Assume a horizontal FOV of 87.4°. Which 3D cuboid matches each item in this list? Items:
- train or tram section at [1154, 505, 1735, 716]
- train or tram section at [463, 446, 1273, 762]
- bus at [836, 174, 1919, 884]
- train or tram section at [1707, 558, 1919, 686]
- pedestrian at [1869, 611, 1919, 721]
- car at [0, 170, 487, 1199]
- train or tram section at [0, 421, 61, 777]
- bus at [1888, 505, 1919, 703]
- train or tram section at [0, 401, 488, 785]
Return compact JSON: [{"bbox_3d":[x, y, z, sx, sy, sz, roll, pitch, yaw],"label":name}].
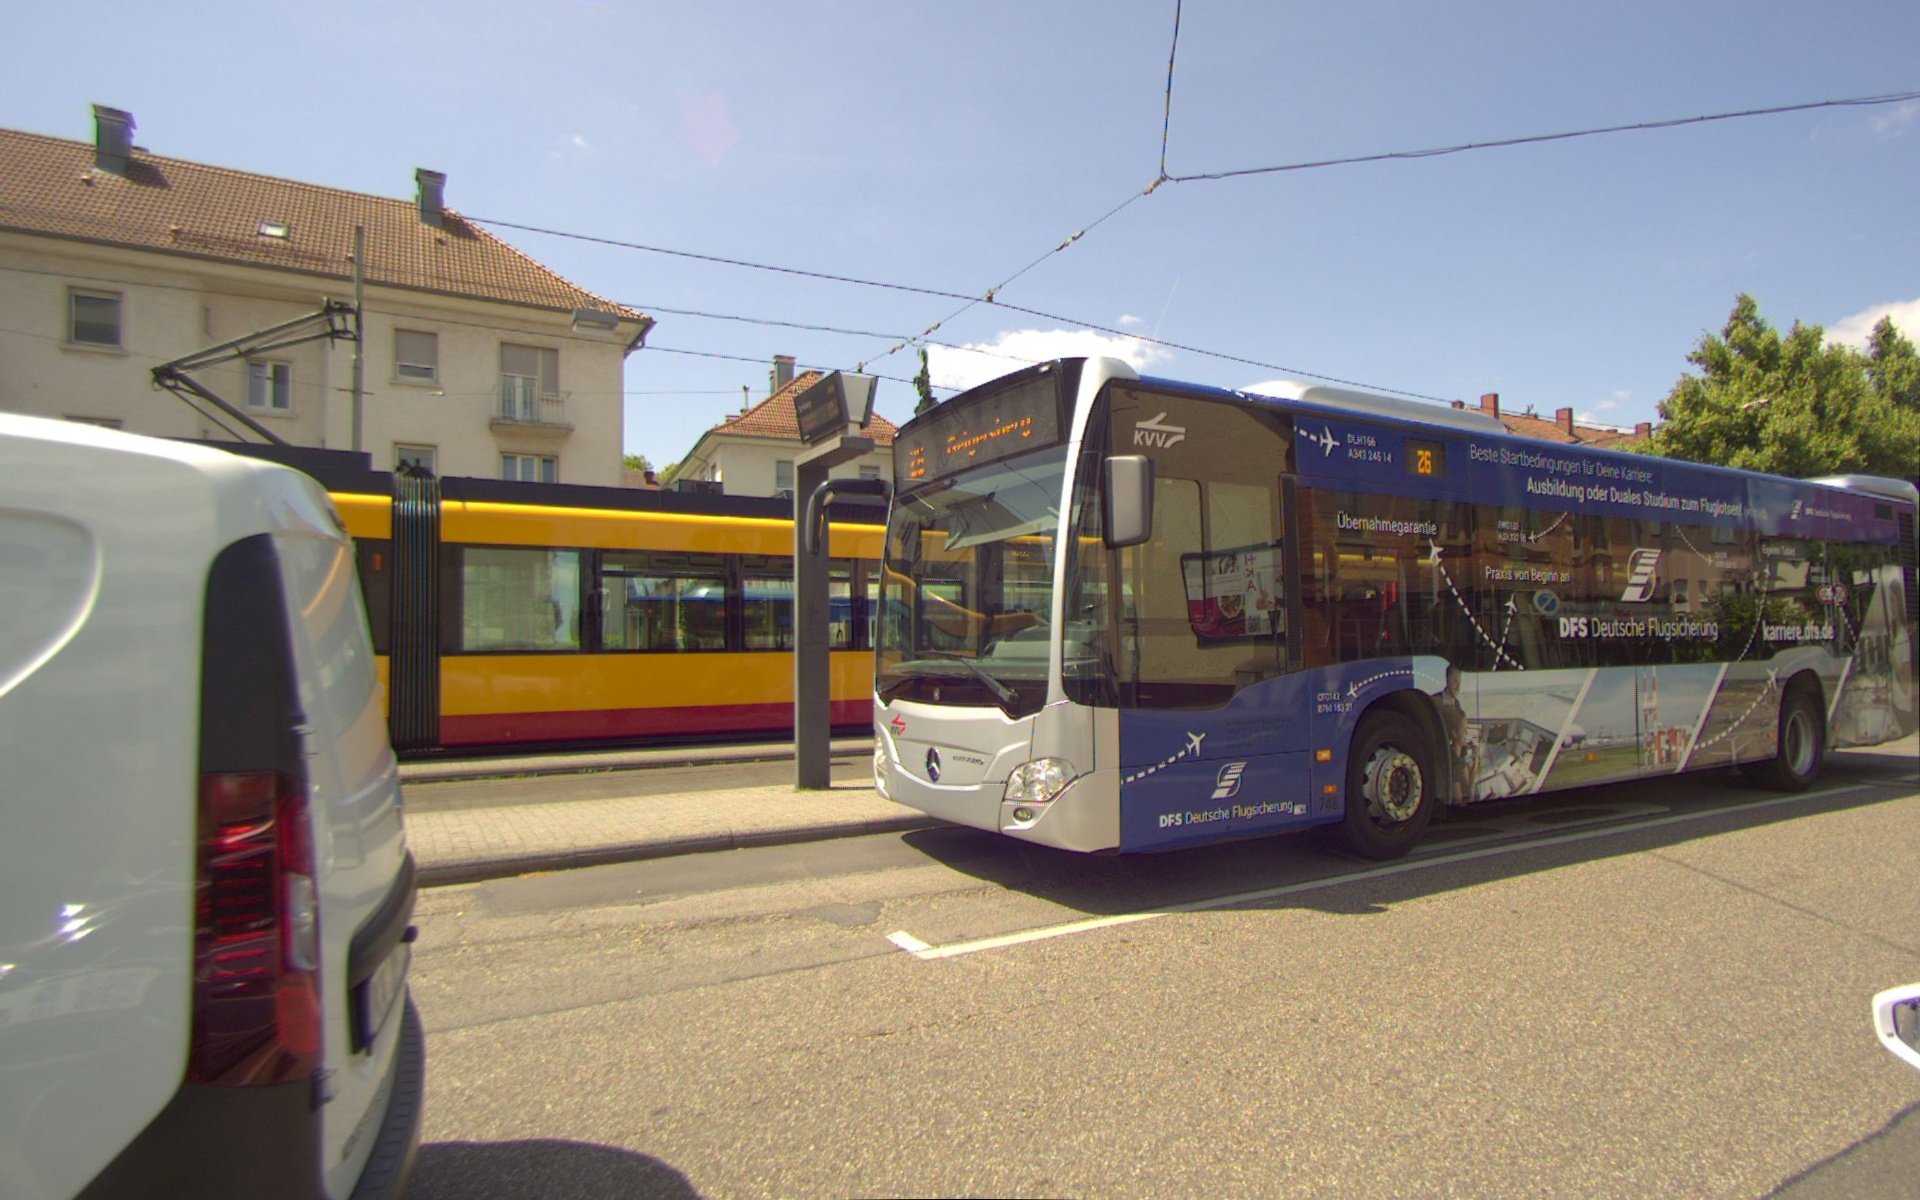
[{"bbox_3d":[12.043,0.366,23.140,17.147,3.691,2.949,1,0,-30],"label":"train or tram section"},{"bbox_3d":[-0.675,0.176,15.671,12.507,3.542,2.949,1,0,-30],"label":"train or tram section"},{"bbox_3d":[4.961,-0.129,9.205,11.901,3.472,2.894,3,-1,-31],"label":"bus"},{"bbox_3d":[30.097,0.783,33.639,13.829,3.691,2.949,1,0,-30],"label":"train or tram section"},{"bbox_3d":[15.775,1.101,16.890,0.582,1.800,0.386,2,-1,19],"label":"pedestrian"},{"bbox_3d":[-3.151,0.352,1.149,4.652,1.875,1.698,2,-1,-27],"label":"car"},{"bbox_3d":[-15.208,-0.131,7.238,12.563,3.542,2.949,1,0,-30],"label":"train or tram section"},{"bbox_3d":[21.628,0.294,18.698,12.051,3.290,2.885,3,-1,-30],"label":"bus"},{"bbox_3d":[-7.936,0.031,11.481,4.365,3.541,2.950,1,-3,-30],"label":"train or tram section"}]
